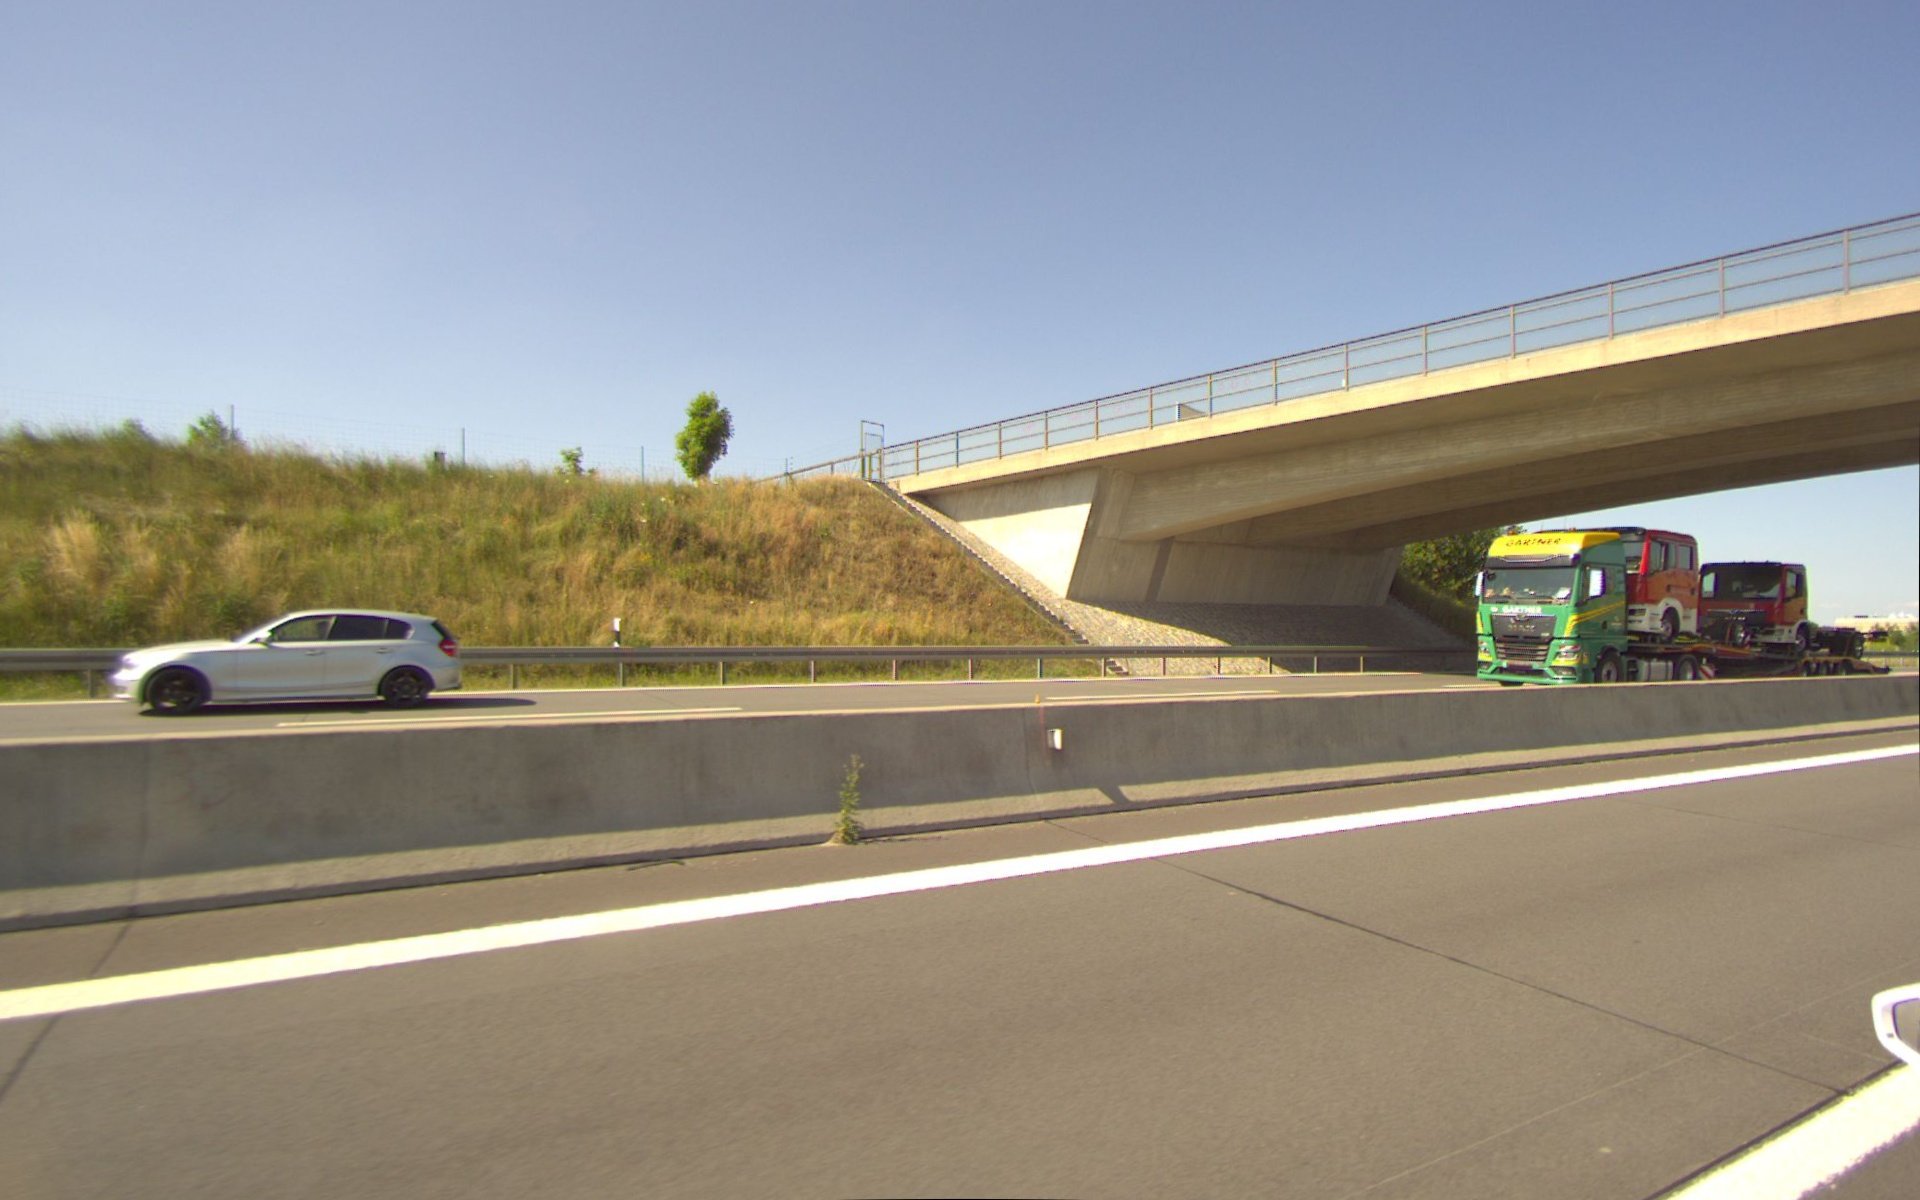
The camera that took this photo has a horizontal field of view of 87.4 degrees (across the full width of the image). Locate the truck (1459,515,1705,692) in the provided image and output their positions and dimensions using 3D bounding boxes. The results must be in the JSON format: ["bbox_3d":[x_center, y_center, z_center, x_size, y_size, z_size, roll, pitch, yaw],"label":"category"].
[{"bbox_3d":[15.301,0.138,24.645,5.762,3.882,2.722,1,-1,-30],"label":"truck"}]

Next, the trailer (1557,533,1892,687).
[{"bbox_3d":[22.036,0.396,28.490,13.078,3.706,2.653,1,-1,-30],"label":"trailer"}]

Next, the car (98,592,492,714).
[{"bbox_3d":[-9.425,0.728,14.693,4.516,1.551,1.852,1,-1,-31],"label":"car"}]
